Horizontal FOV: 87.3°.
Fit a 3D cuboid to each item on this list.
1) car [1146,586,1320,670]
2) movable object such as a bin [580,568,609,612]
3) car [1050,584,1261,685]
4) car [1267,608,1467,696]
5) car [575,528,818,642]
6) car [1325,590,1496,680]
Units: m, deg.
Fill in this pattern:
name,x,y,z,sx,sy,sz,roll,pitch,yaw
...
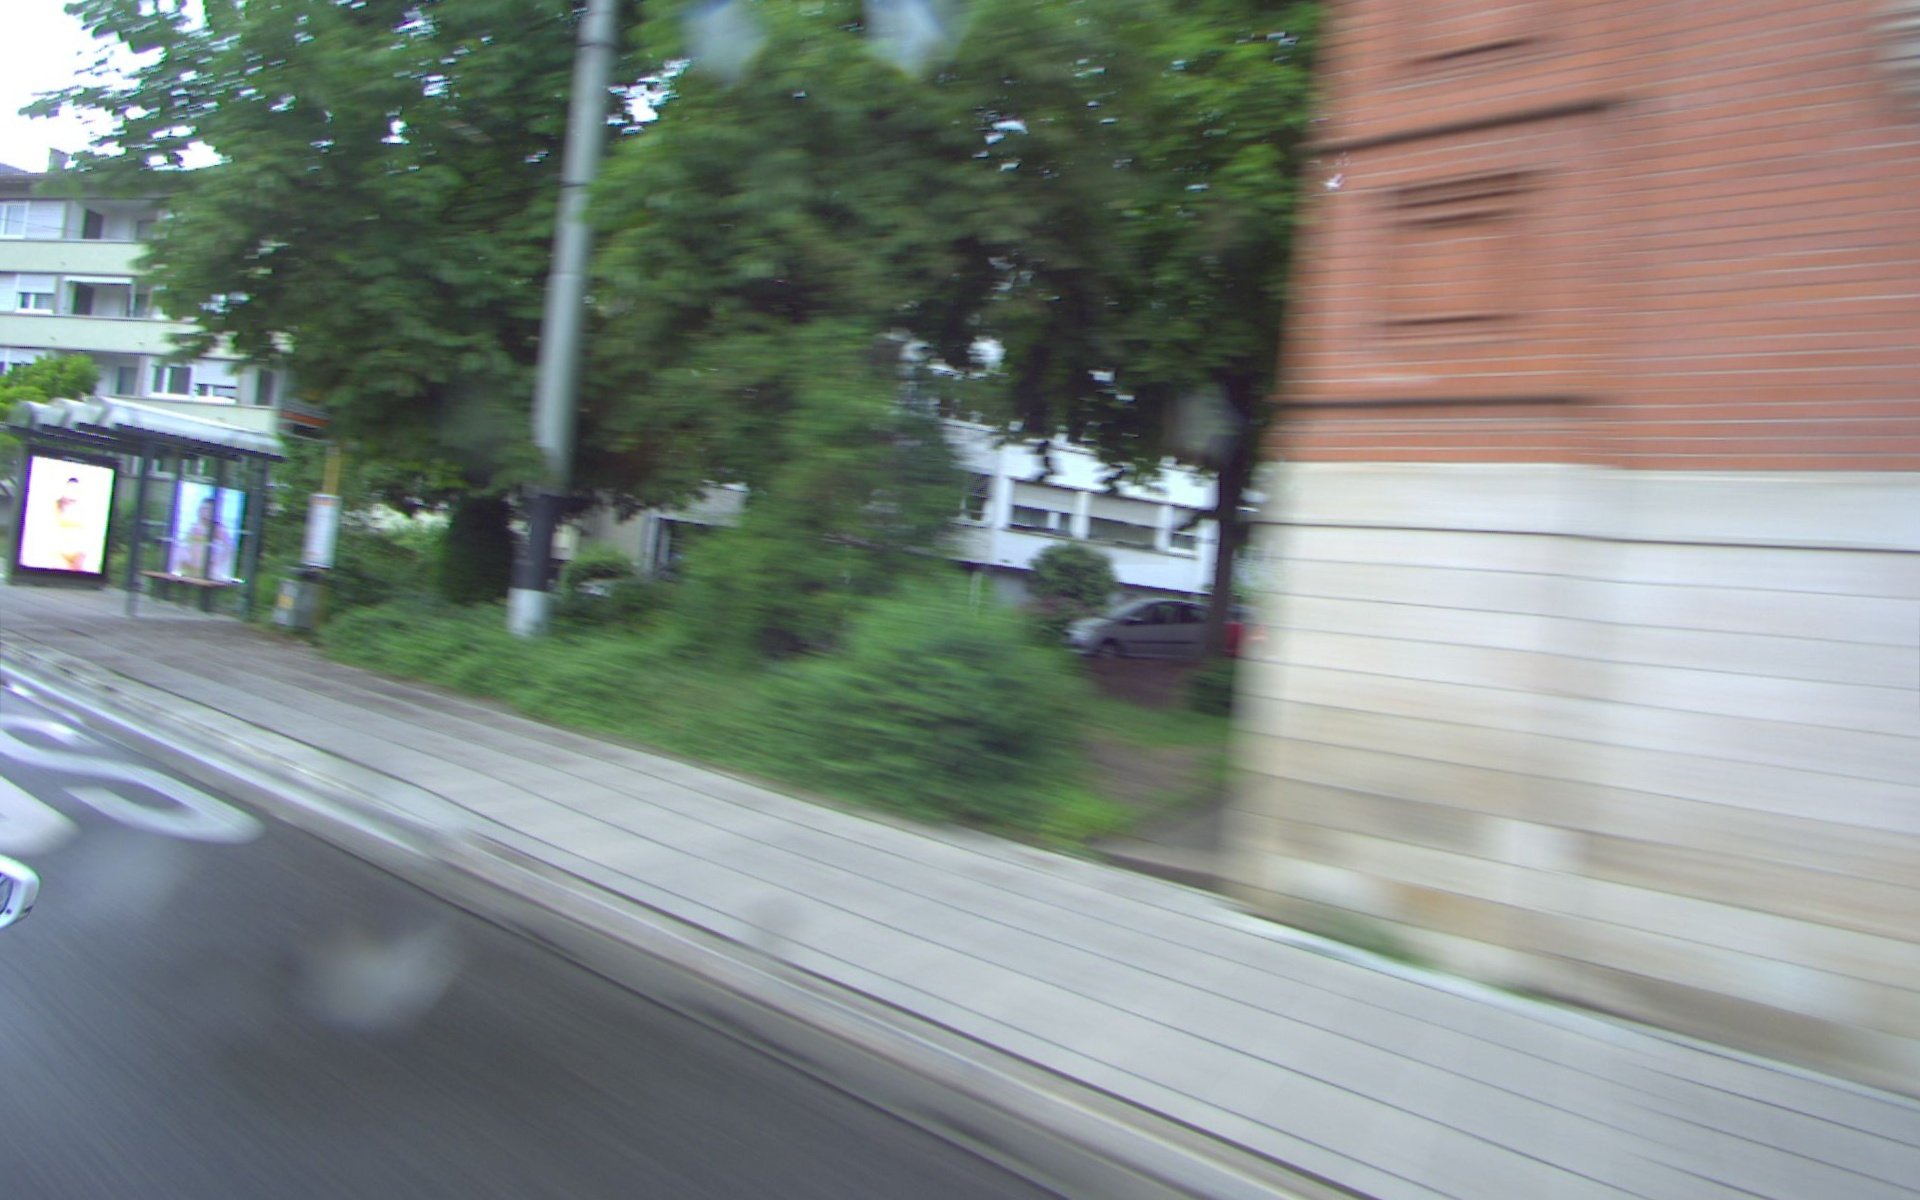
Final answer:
name,x,y,z,sx,sy,sz,roll,pitch,yaw
car,7.485,0.775,27.675,4.140,1.714,1.836,8,-2,-17
movable object such as a bin,-9.323,-0.246,25.655,0.526,1.035,0.586,8,-2,-24
car,4.182,0.748,21.686,3.934,1.582,1.838,8,-2,-14
car,9.154,1.156,22.728,3.776,1.461,1.740,8,-2,-14
car,-5.204,-0.251,20.037,4.320,1.576,1.836,8,-2,-17
car,12.833,1.012,28.722,3.940,2.000,1.995,8,-2,-16
